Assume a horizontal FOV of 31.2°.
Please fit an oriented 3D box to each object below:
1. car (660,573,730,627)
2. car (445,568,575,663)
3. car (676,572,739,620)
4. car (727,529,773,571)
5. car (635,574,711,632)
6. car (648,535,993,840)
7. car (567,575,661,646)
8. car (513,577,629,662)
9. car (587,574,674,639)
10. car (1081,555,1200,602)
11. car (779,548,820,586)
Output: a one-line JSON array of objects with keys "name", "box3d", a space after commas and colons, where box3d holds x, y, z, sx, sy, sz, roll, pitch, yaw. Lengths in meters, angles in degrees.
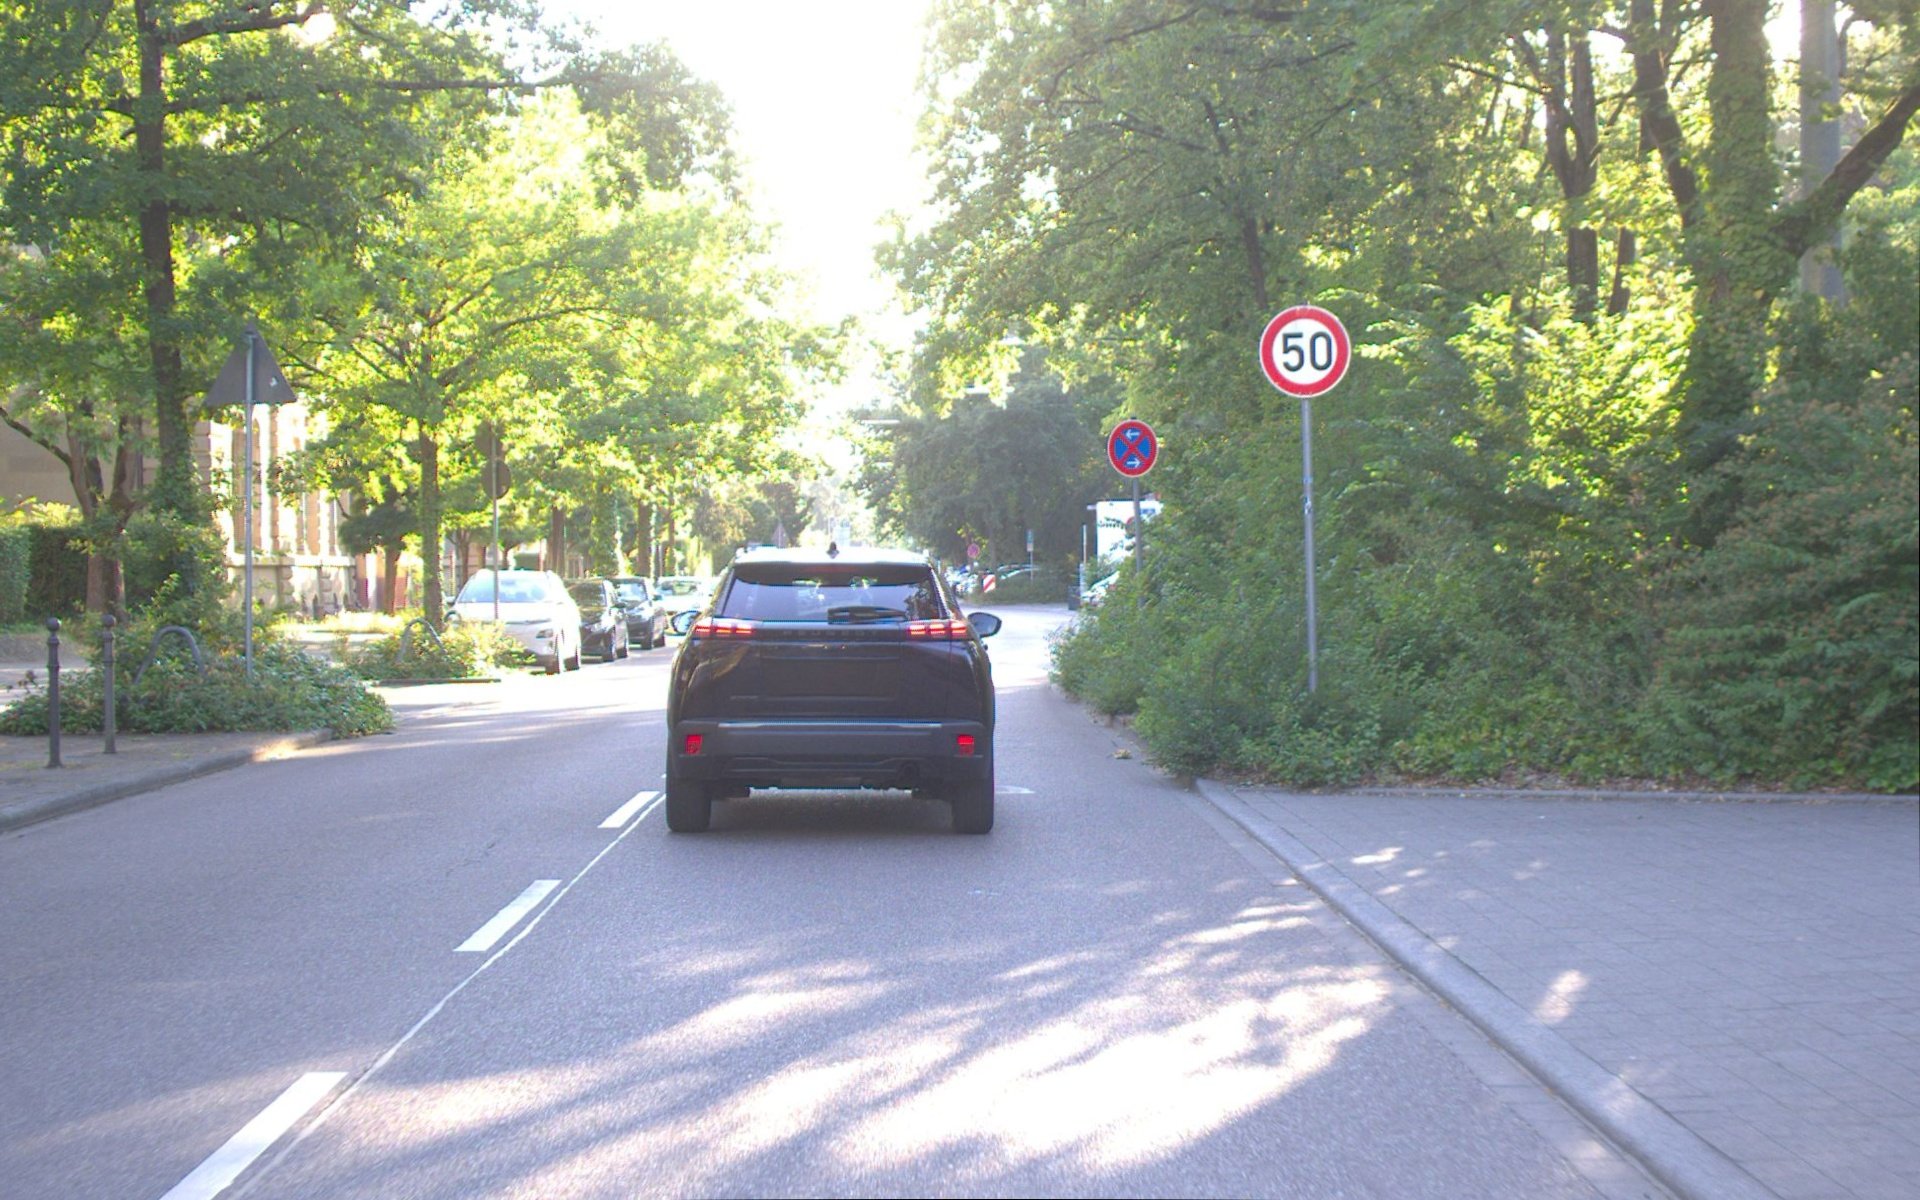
[{"name": "car", "box3d": [-7.134, -0.018, 92.507, 1.810, 1.349, 3.980, -1, 1, -4]}, {"name": "car", "box3d": [-6.839, 0.207, 52.524, 1.810, 1.349, 4.001, -1, 1, -6]}, {"name": "car", "box3d": [-7.552, -0.127, 102.669, 1.810, 1.349, 4.001, -1, 1, -4]}, {"name": "car", "box3d": [-9.598, -2.293, 157.336, 1.907, 1.861, 3.949, -1, 1, -1]}, {"name": "car", "box3d": [-7.081, 0.050, 85.062, 1.810, 1.349, 4.001, -1, 1, -4]}, {"name": "car", "box3d": [-0.755, 0.428, 19.451, 1.768, 1.563, 3.381, 0, 1, -1]}, {"name": "car", "box3d": [-7.027, 0.185, 70.099, 1.810, 1.349, 4.001, -1, 1, -4]}, {"name": "car", "box3d": [-6.613, 0.305, 58.772, 1.810, 1.349, 4.001, -1, 1, -4]}, {"name": "car", "box3d": [-7.235, 0.125, 75.818, 1.810, 1.349, 4.001, -1, 1, -4]}, {"name": "car", "box3d": [6.413, -0.755, 122.189, 3.986, 1.577, 1.816, -1, 1, -4]}, {"name": "car", "box3d": [-8.254, -1.698, 176.909, 1.907, 1.861, 3.949, -1, 1, -1]}]
